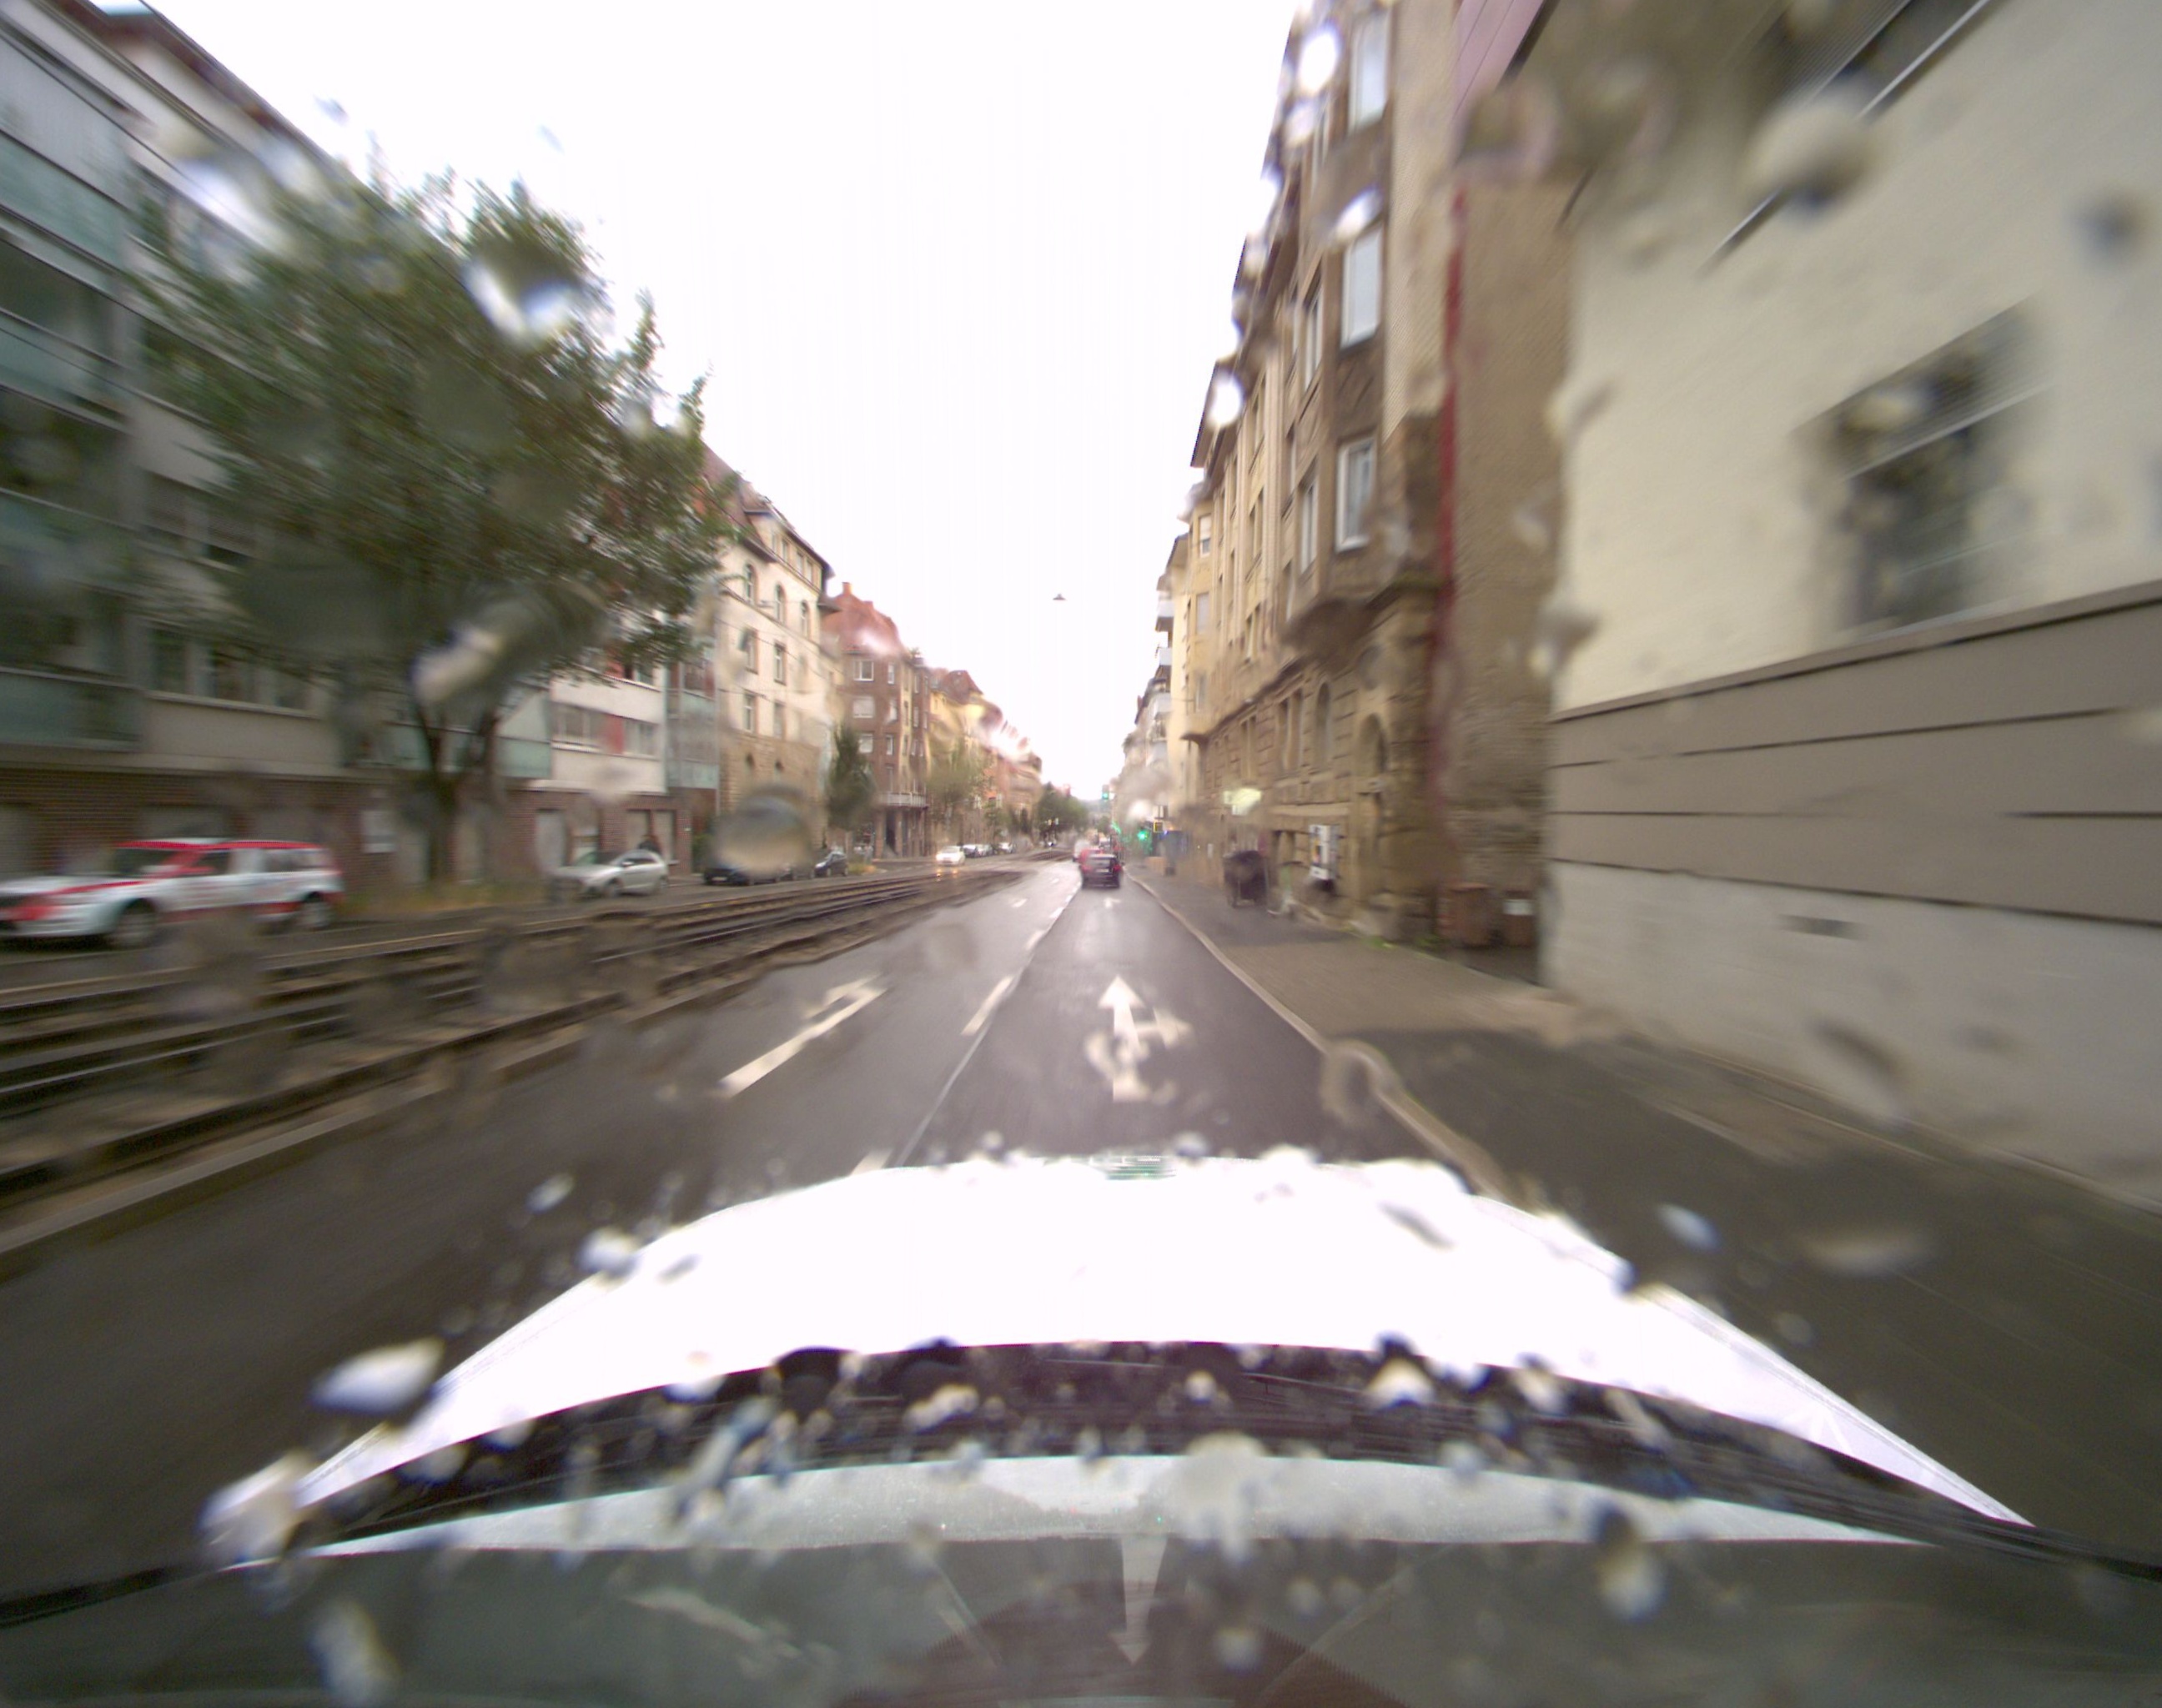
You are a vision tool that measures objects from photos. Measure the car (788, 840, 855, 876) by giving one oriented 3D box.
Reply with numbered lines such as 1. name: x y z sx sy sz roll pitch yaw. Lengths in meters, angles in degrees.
1. car: -13.631 0.187 42.945 1.876 1.728 3.748 3 0 7

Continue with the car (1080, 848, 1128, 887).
1. car: 0.941 0.551 34.476 1.939 1.564 3.643 0 0 0

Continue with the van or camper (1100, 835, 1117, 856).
1. van or camper: 3.353 -1.032 100.104 2.056 2.469 6.121 1 0 2

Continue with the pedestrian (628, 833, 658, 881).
1. pedestrian: -16.473 0.104 30.638 0.671 1.772 0.783 1 0 2

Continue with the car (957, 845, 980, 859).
1. car: -12.250 -0.193 88.954 1.758 1.486 4.002 1 0 2

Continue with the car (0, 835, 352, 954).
1. car: -14.350 0.532 12.915 1.770 1.569 4.159 1 0 0

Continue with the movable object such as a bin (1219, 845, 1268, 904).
1. movable object such as a bin: 4.215 0.519 21.197 1.005 1.451 1.394 -1 0 1

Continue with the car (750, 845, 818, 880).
1. car: -13.725 0.371 37.830 1.801 1.498 3.526 1 0 0

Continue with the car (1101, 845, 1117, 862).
1. car: 3.150 -0.112 91.586 1.762 1.808 4.484 2 1 2

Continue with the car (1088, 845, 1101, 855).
1. car: 2.164 -0.651 129.564 1.895 1.593 4.001 0 0 1

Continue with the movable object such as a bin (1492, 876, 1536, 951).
1. movable object such as a bin: 6.164 0.830 11.596 0.497 1.014 0.442 1 0 21

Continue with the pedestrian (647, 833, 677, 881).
1. pedestrian: -15.722 0.107 30.598 0.671 1.772 0.783 1 0 2

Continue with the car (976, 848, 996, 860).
1. car: -11.544 -0.053 99.242 1.554 1.438 4.151 0 0 5

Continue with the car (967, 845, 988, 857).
1. car: -11.955 -0.364 94.176 1.660 1.426 4.266 1 1 3

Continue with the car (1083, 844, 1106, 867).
1. car: 0.965 0.107 58.301 1.530 1.510 4.002 2 0 2

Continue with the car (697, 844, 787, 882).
1. car: -13.727 0.328 33.276 1.795 1.455 4.431 0 0 0

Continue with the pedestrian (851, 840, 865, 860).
1. pedestrian: -15.558 -0.270 56.831 0.751 1.422 0.646 0 0 4

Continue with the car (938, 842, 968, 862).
1. car: -9.855 -0.153 62.776 1.620 1.482 3.583 1 0 2

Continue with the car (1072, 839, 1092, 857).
1. car: 0.080 -0.559 79.167 1.915 1.655 3.999 2 0 0

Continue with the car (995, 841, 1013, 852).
1. car: -11.185 -1.075 118.940 1.776 1.589 4.358 0 0 6

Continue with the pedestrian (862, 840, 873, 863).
1. pedestrian: -14.889 -0.164 56.841 0.515 1.570 0.644 0 0 5

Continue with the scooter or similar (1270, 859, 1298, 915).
1. scooter or similar: 4.133 0.661 16.605 0.209 1.112 0.889 -1 -1 -8

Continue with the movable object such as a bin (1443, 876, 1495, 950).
1. movable object such as a bin: 5.502 0.827 11.552 0.499 1.014 0.476 1 0 -1

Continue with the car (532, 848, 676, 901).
1. car: -14.020 0.552 24.250 1.696 1.335 4.132 3 0 2
